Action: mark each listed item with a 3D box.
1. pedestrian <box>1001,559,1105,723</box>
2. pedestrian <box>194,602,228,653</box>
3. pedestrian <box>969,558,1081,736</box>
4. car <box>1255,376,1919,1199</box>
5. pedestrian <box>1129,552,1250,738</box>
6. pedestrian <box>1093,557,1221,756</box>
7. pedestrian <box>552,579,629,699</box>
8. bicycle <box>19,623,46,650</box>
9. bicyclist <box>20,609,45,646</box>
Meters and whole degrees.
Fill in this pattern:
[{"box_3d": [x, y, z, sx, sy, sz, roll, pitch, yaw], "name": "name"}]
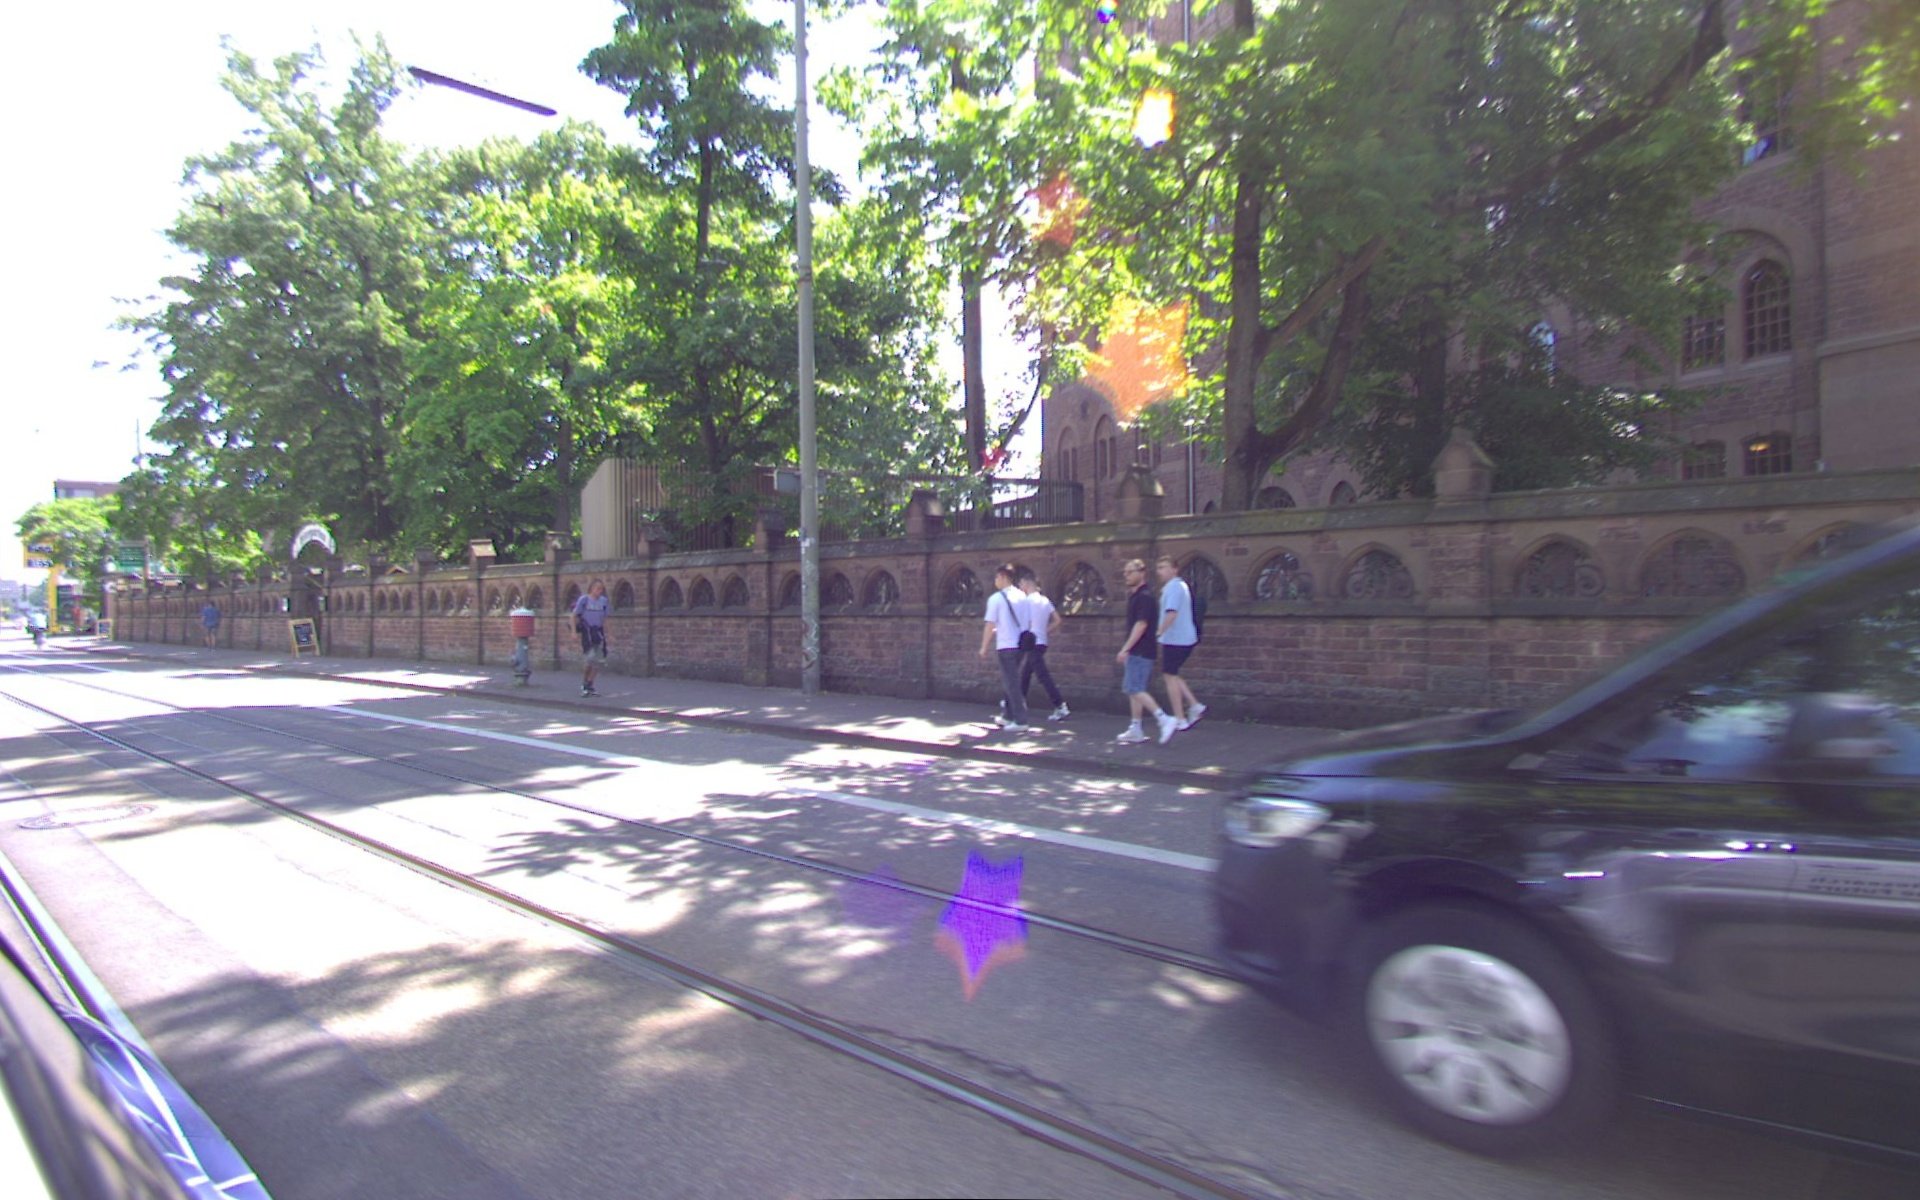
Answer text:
[{"box_3d": [1.071, 0.445, 11.669, 0.919, 1.789, 0.670, -1, 2, 41], "name": "pedestrian"}, {"box_3d": [-27.065, 0.983, 36.553, 0.919, 1.761, 0.741, -1, 1, 41], "name": "pedestrian"}, {"box_3d": [0.700, 0.481, 10.862, 0.919, 1.803, 0.670, -1, 2, 41], "name": "pedestrian"}, {"box_3d": [3.082, 0.445, 2.285, 4.253, 1.802, 1.885, -1, -1, 41], "name": "car"}, {"box_3d": [2.349, 0.429, 10.369, 0.919, 1.789, 0.745, -1, 2, 41], "name": "pedestrian"}, {"box_3d": [1.865, 0.500, 9.576, 0.919, 1.761, 0.670, -1, 2, 41], "name": "pedestrian"}, {"box_3d": [-5.851, 0.601, 16.008, 0.919, 1.805, 0.714, -1, 2, 41], "name": "pedestrian"}, {"box_3d": [-41.589, 1.635, 45.391, 1.895, 1.172, 0.652, -1, -3, 41], "name": "bicycle"}, {"box_3d": [-41.742, 1.247, 45.550, 0.919, 1.637, 0.656, -1, -3, 41], "name": "bicyclist"}]
